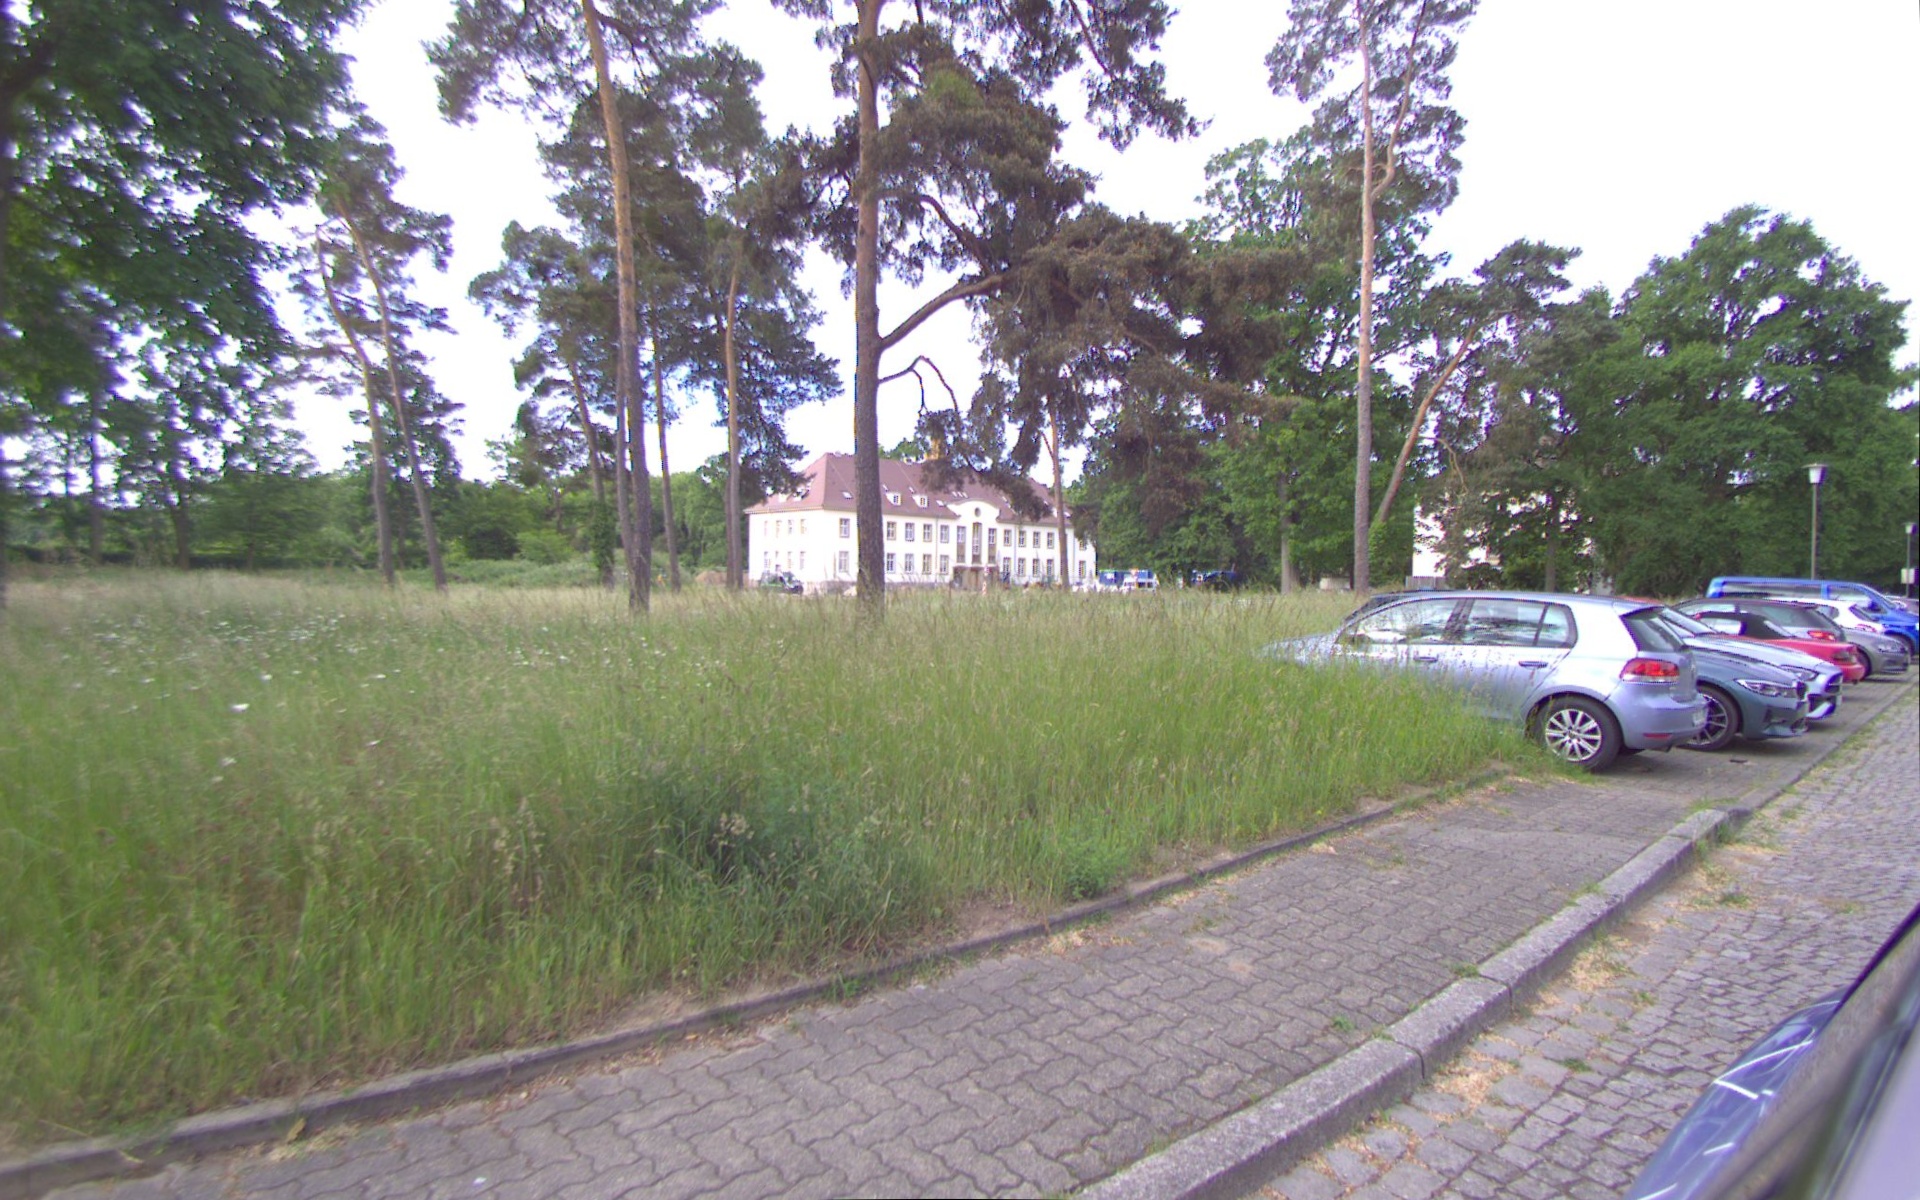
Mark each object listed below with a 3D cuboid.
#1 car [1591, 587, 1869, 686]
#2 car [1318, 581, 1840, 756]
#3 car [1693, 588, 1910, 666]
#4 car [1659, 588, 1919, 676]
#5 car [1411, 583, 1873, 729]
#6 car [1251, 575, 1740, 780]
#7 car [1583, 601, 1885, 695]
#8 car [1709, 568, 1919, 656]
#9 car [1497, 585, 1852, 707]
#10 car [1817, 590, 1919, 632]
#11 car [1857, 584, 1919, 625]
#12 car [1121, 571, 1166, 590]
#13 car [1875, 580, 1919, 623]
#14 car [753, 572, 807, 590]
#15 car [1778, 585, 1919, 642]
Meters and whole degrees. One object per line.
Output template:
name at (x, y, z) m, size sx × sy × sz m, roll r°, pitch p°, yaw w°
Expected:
car at (13.852, 0.567, 18.332) m, size 1.769 × 1.524 × 3.780 m, roll 0°, pitch 2°, yaw -44°
car at (6.715, 0.580, 11.434) m, size 4.759 × 1.501 × 1.733 m, roll 2°, pitch 2°, yaw 45°
car at (18.158, 0.517, 21.940) m, size 1.609 × 1.470 × 3.406 m, roll 0°, pitch 2°, yaw -41°
car at (16.281, 0.540, 19.874) m, size 1.788 × 1.474 × 3.848 m, roll 0°, pitch 2°, yaw -40°
car at (8.719, 0.574, 13.346) m, size 1.781 × 1.501 × 4.764 m, roll 0°, pitch 2°, yaw -42°
car at (4.881, 0.559, 9.616) m, size 1.578 × 1.444 × 3.769 m, roll 0°, pitch 2°, yaw -43°
car at (12.230, 0.687, 16.159) m, size 1.468 × 1.222 × 3.597 m, roll 0°, pitch 1°, yaw -41°
car at (22.069, 0.246, 25.567) m, size 1.966 × 1.963 × 4.744 m, roll 0°, pitch 3°, yaw -42°
car at (10.364, 0.560, 14.897) m, size 1.769 × 1.470 × 3.968 m, roll 0°, pitch 2°, yaw -42°
car at (35.636, 0.396, 38.810) m, size 1.966 × 1.549 × 3.992 m, roll 0°, pitch 0°, yaw -42°
car at (43.161, 0.211, 45.510) m, size 1.965 × 1.784 × 4.005 m, roll 0°, pitch 2°, yaw -41°
car at (20.135, -2.089, 111.030) m, size 5.131 × 2.038 × 2.153 m, roll 0°, pitch 2°, yaw -40°
car at (46.487, 0.095, 48.276) m, size 1.965 × 2.038 × 3.994 m, roll 0°, pitch 2°, yaw -41°
car at (-19.716, -2.121, 110.812) m, size 6.166 × 1.882 × 2.306 m, roll 2°, pitch 2°, yaw 39°
car at (28.362, 0.380, 31.711) m, size 1.966 × 1.630 × 3.993 m, roll 0°, pitch 2°, yaw -42°
